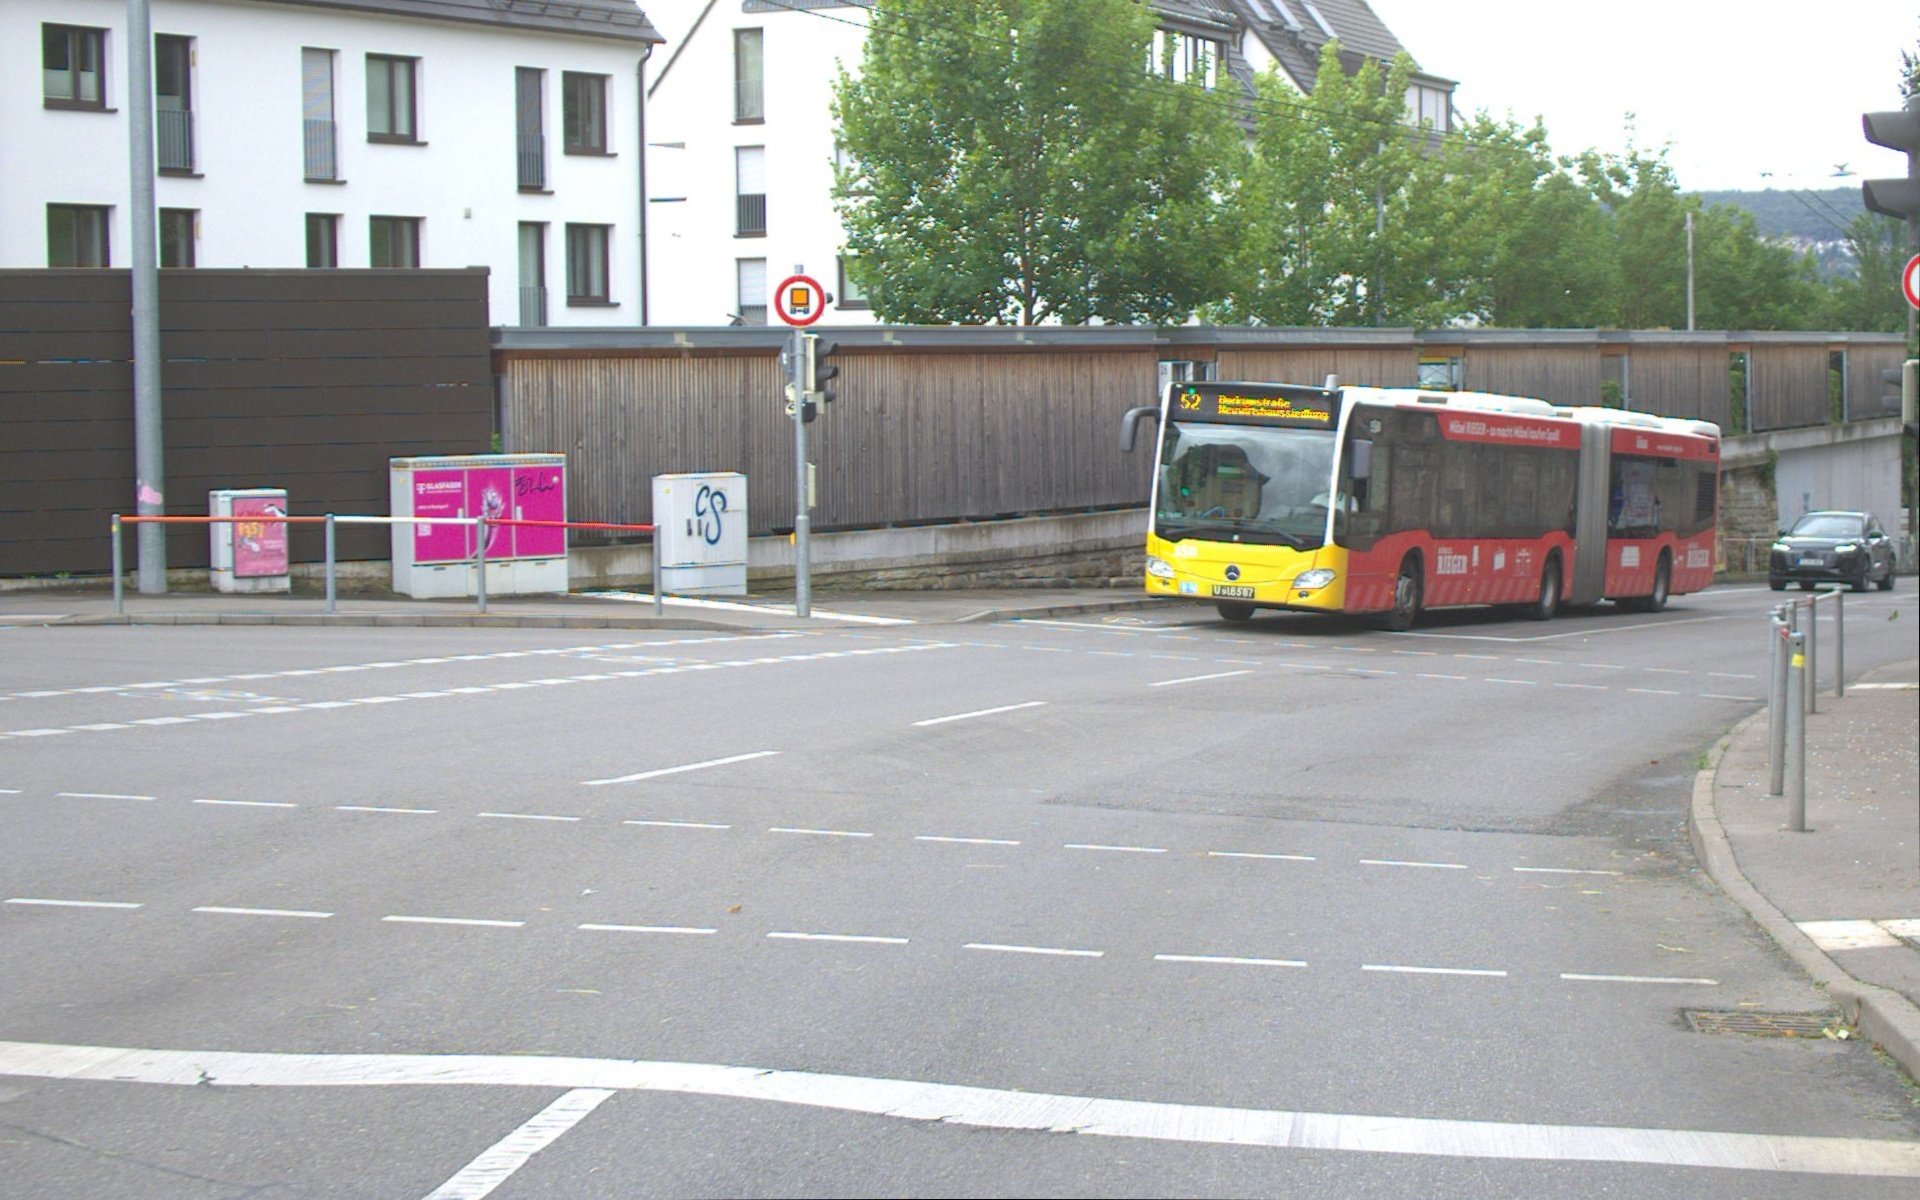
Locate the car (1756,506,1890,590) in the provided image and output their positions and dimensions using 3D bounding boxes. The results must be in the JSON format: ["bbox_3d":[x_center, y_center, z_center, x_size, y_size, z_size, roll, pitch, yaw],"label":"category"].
[{"bbox_3d":[18.120,-1.070,72.045,1.924,1.624,4.517,3,2,23],"label":"car"}]

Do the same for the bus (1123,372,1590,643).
[{"bbox_3d":[5.478,-1.189,45.265,2.662,3.111,10.004,4,2,27],"label":"bus"}]

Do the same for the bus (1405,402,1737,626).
[{"bbox_3d":[9.642,-1.323,53.430,2.662,3.111,8.281,4,2,27],"label":"bus"}]
